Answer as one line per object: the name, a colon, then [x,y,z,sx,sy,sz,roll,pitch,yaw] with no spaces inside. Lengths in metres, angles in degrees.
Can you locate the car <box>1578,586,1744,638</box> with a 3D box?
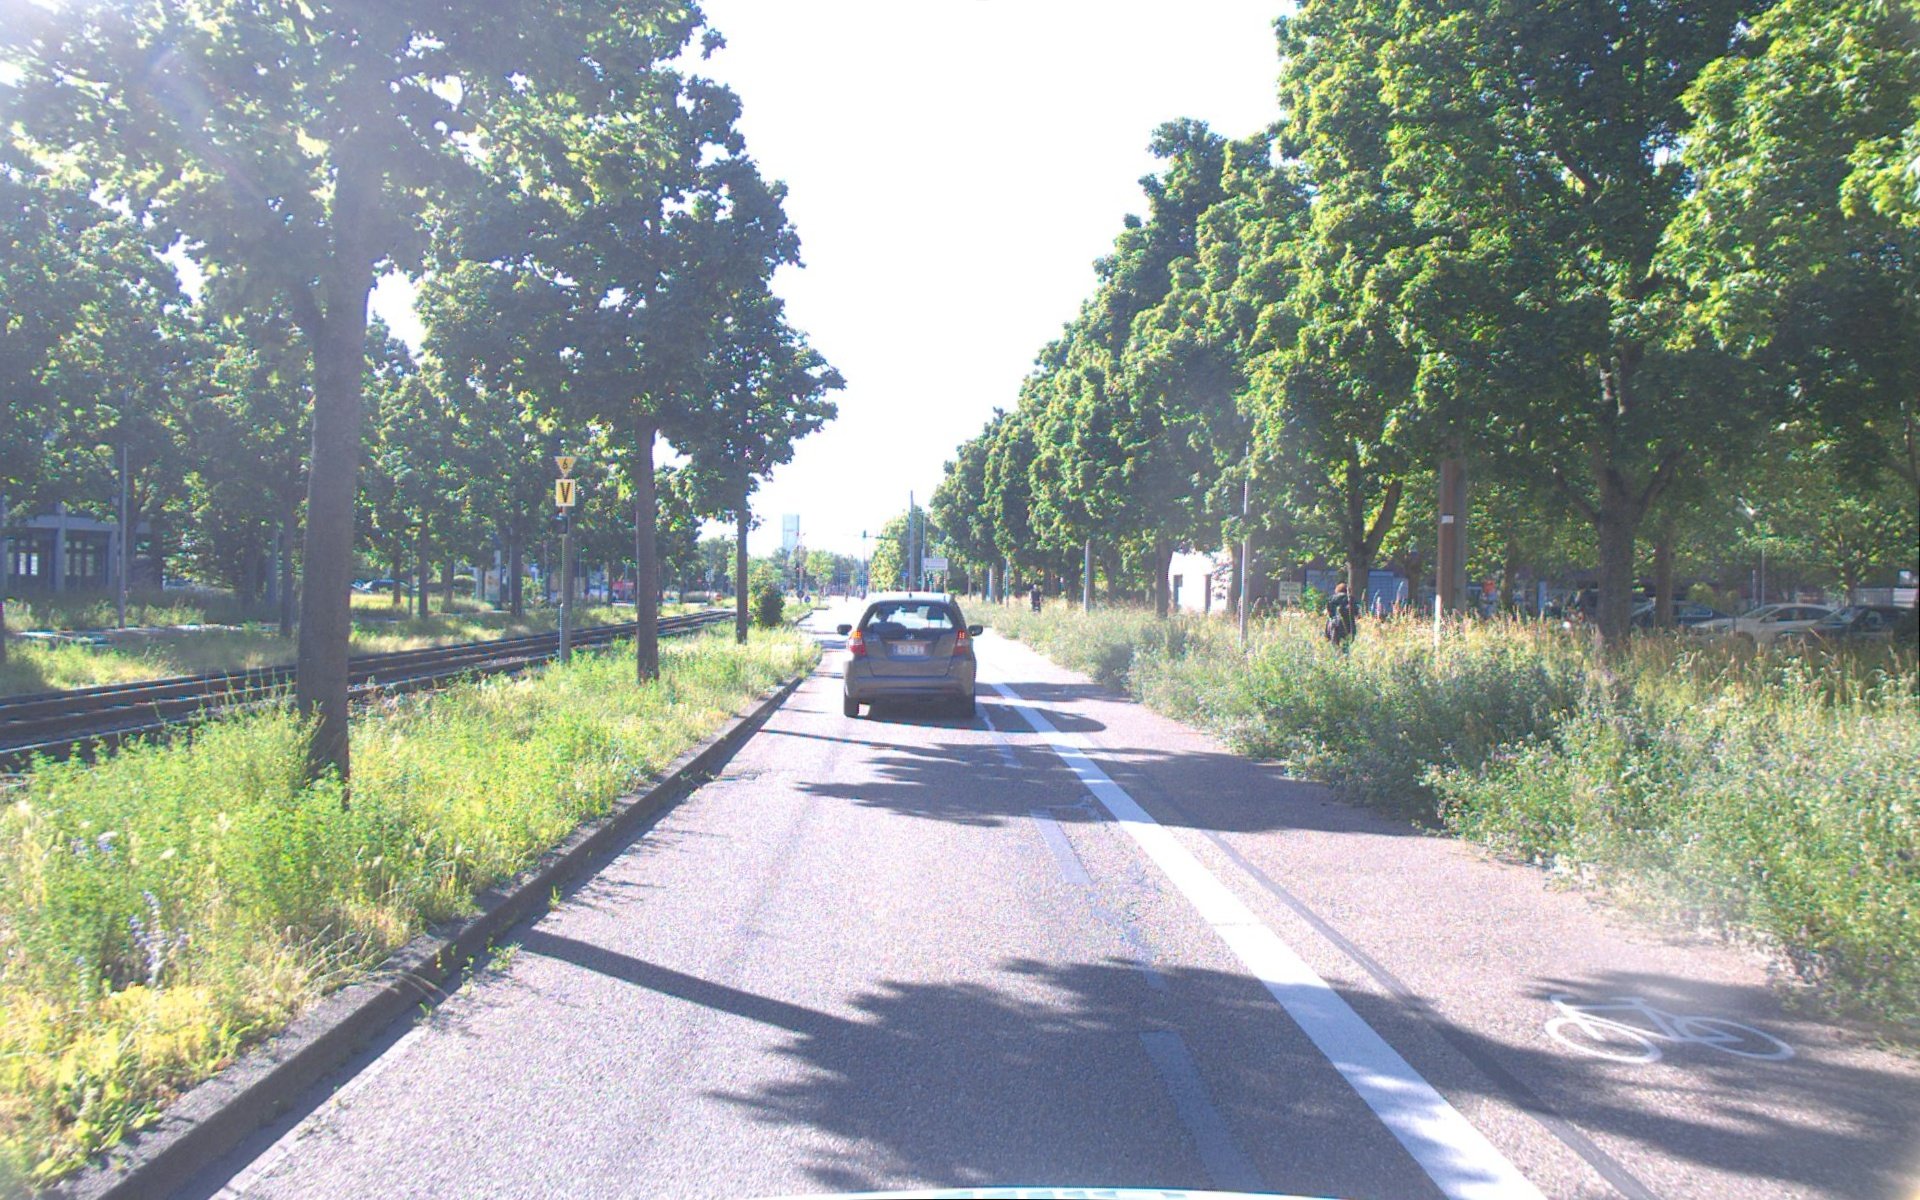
car: [21.041,0.341,49.724,4.266,1.484,1.689,1,0,1]

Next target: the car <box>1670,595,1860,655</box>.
car: [21.079,0.646,43.414,4.079,1.457,1.825,1,0,1]

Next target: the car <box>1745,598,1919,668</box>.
car: [20.529,0.755,38.340,3.916,1.552,1.704,1,0,-5]

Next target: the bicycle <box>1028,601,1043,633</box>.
bicycle: [3.075,0.706,67.476,0.473,1.226,2.142,1,-2,-2]

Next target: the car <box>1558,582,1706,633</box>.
car: [21.074,0.242,51.945,3.948,1.531,1.738,1,0,-2]

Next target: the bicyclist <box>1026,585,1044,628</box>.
bicyclist: [3.065,0.278,67.454,0.669,1.750,0.902,1,-1,-2]

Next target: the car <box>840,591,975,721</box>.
car: [-0.671,0.668,21.496,1.591,1.526,3.455,1,0,-2]

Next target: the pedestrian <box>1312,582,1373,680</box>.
pedestrian: [6.378,0.517,27.618,0.807,1.596,0.762,1,0,-1]
